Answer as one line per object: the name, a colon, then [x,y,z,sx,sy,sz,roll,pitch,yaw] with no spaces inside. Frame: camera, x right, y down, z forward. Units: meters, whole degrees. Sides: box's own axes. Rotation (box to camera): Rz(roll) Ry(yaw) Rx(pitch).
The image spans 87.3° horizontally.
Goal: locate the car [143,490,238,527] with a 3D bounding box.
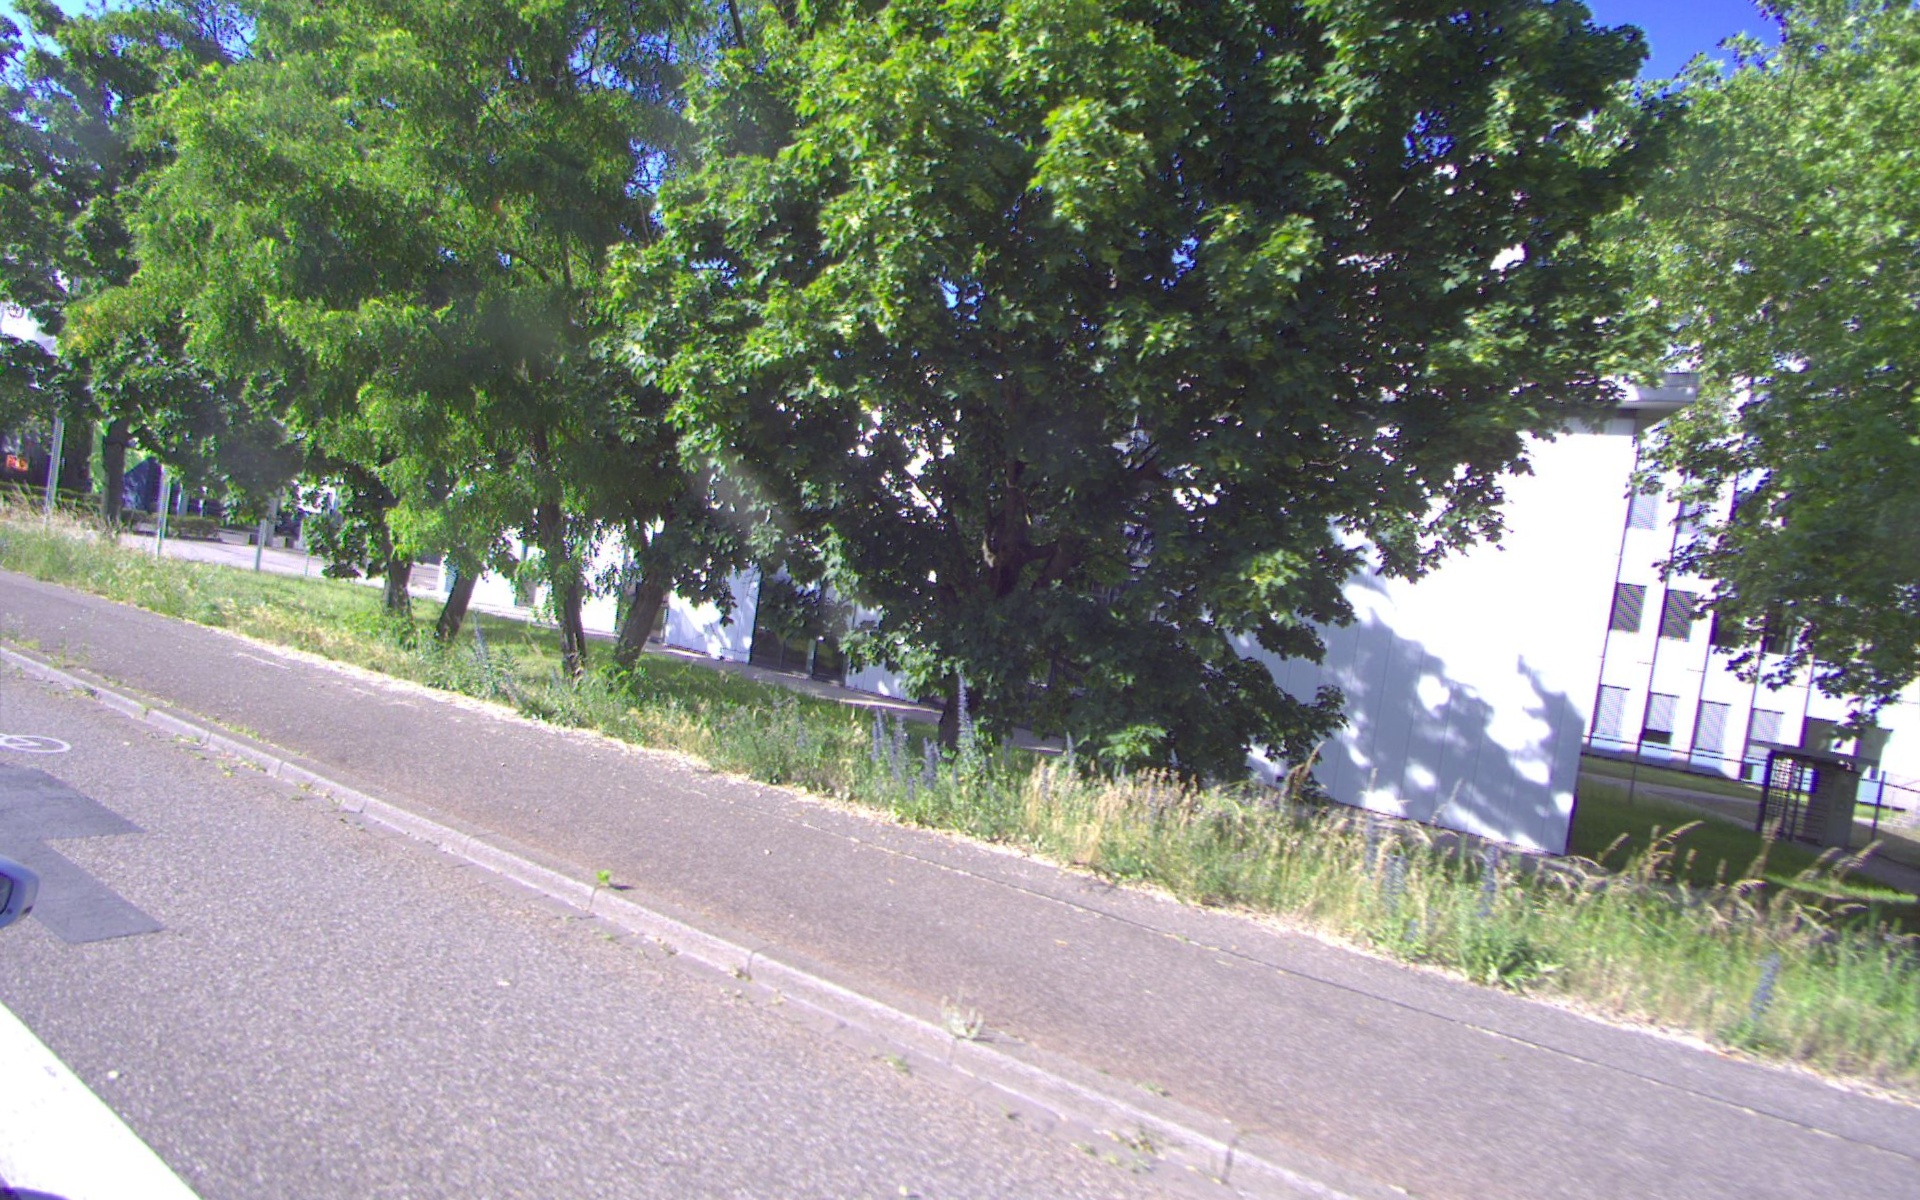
car: [-50.488,-5.982,66.116,1.841,1.649,4.553,7,-1,20]
